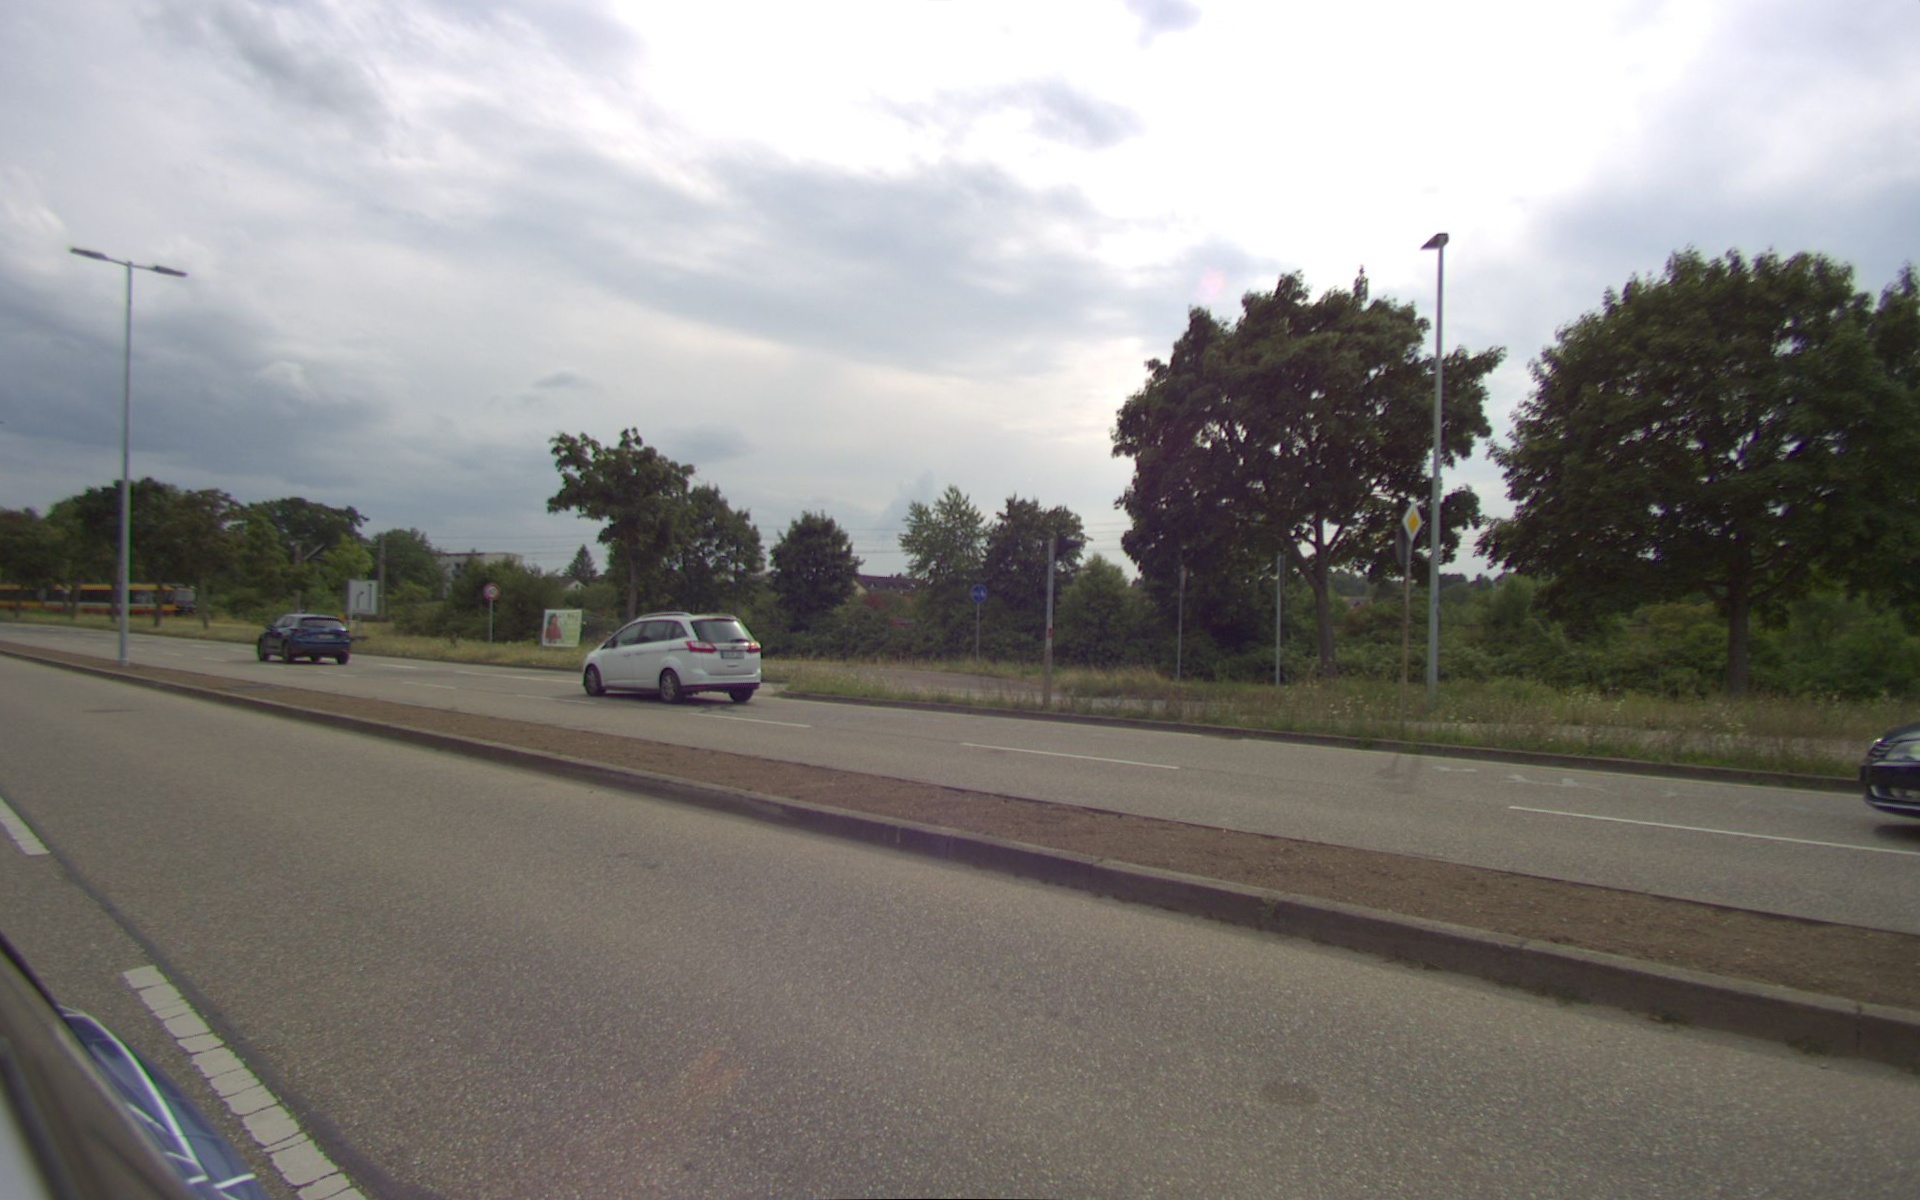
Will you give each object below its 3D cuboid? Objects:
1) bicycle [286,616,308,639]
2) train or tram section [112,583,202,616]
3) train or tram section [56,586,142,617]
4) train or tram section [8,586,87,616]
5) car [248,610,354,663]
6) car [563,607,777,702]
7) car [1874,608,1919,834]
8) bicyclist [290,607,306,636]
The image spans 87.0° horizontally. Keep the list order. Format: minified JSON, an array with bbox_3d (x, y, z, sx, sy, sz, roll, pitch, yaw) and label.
[{"bbox_3d":[-42.401,1.773,64.730,2.166,1.433,0.530,-1,-3,41],"label":"bicycle"},{"bbox_3d":[-87.087,-0.014,109.660,11.883,3.447,2.897,0,0,26],"label":"train or tram section"},{"bbox_3d":[-97.858,0.139,114.974,11.882,3.447,2.897,0,0,26],"label":"train or tram section"},{"bbox_3d":[-108.525,0.150,120.332,11.885,3.447,2.896,0,0,27],"label":"train or tram section"},{"bbox_3d":[-22.622,1.217,34.675,4.561,1.666,1.828,0,-2,41],"label":"car"},{"bbox_3d":[-5.790,1.009,19.907,4.636,1.666,1.750,0,-3,41],"label":"car"},{"bbox_3d":[8.788,0.842,6.134,4.738,1.544,1.750,0,-2,41],"label":"car"},{"bbox_3d":[-42.340,1.360,64.729,0.818,1.846,0.637,-1,-2,40],"label":"bicyclist"}]
